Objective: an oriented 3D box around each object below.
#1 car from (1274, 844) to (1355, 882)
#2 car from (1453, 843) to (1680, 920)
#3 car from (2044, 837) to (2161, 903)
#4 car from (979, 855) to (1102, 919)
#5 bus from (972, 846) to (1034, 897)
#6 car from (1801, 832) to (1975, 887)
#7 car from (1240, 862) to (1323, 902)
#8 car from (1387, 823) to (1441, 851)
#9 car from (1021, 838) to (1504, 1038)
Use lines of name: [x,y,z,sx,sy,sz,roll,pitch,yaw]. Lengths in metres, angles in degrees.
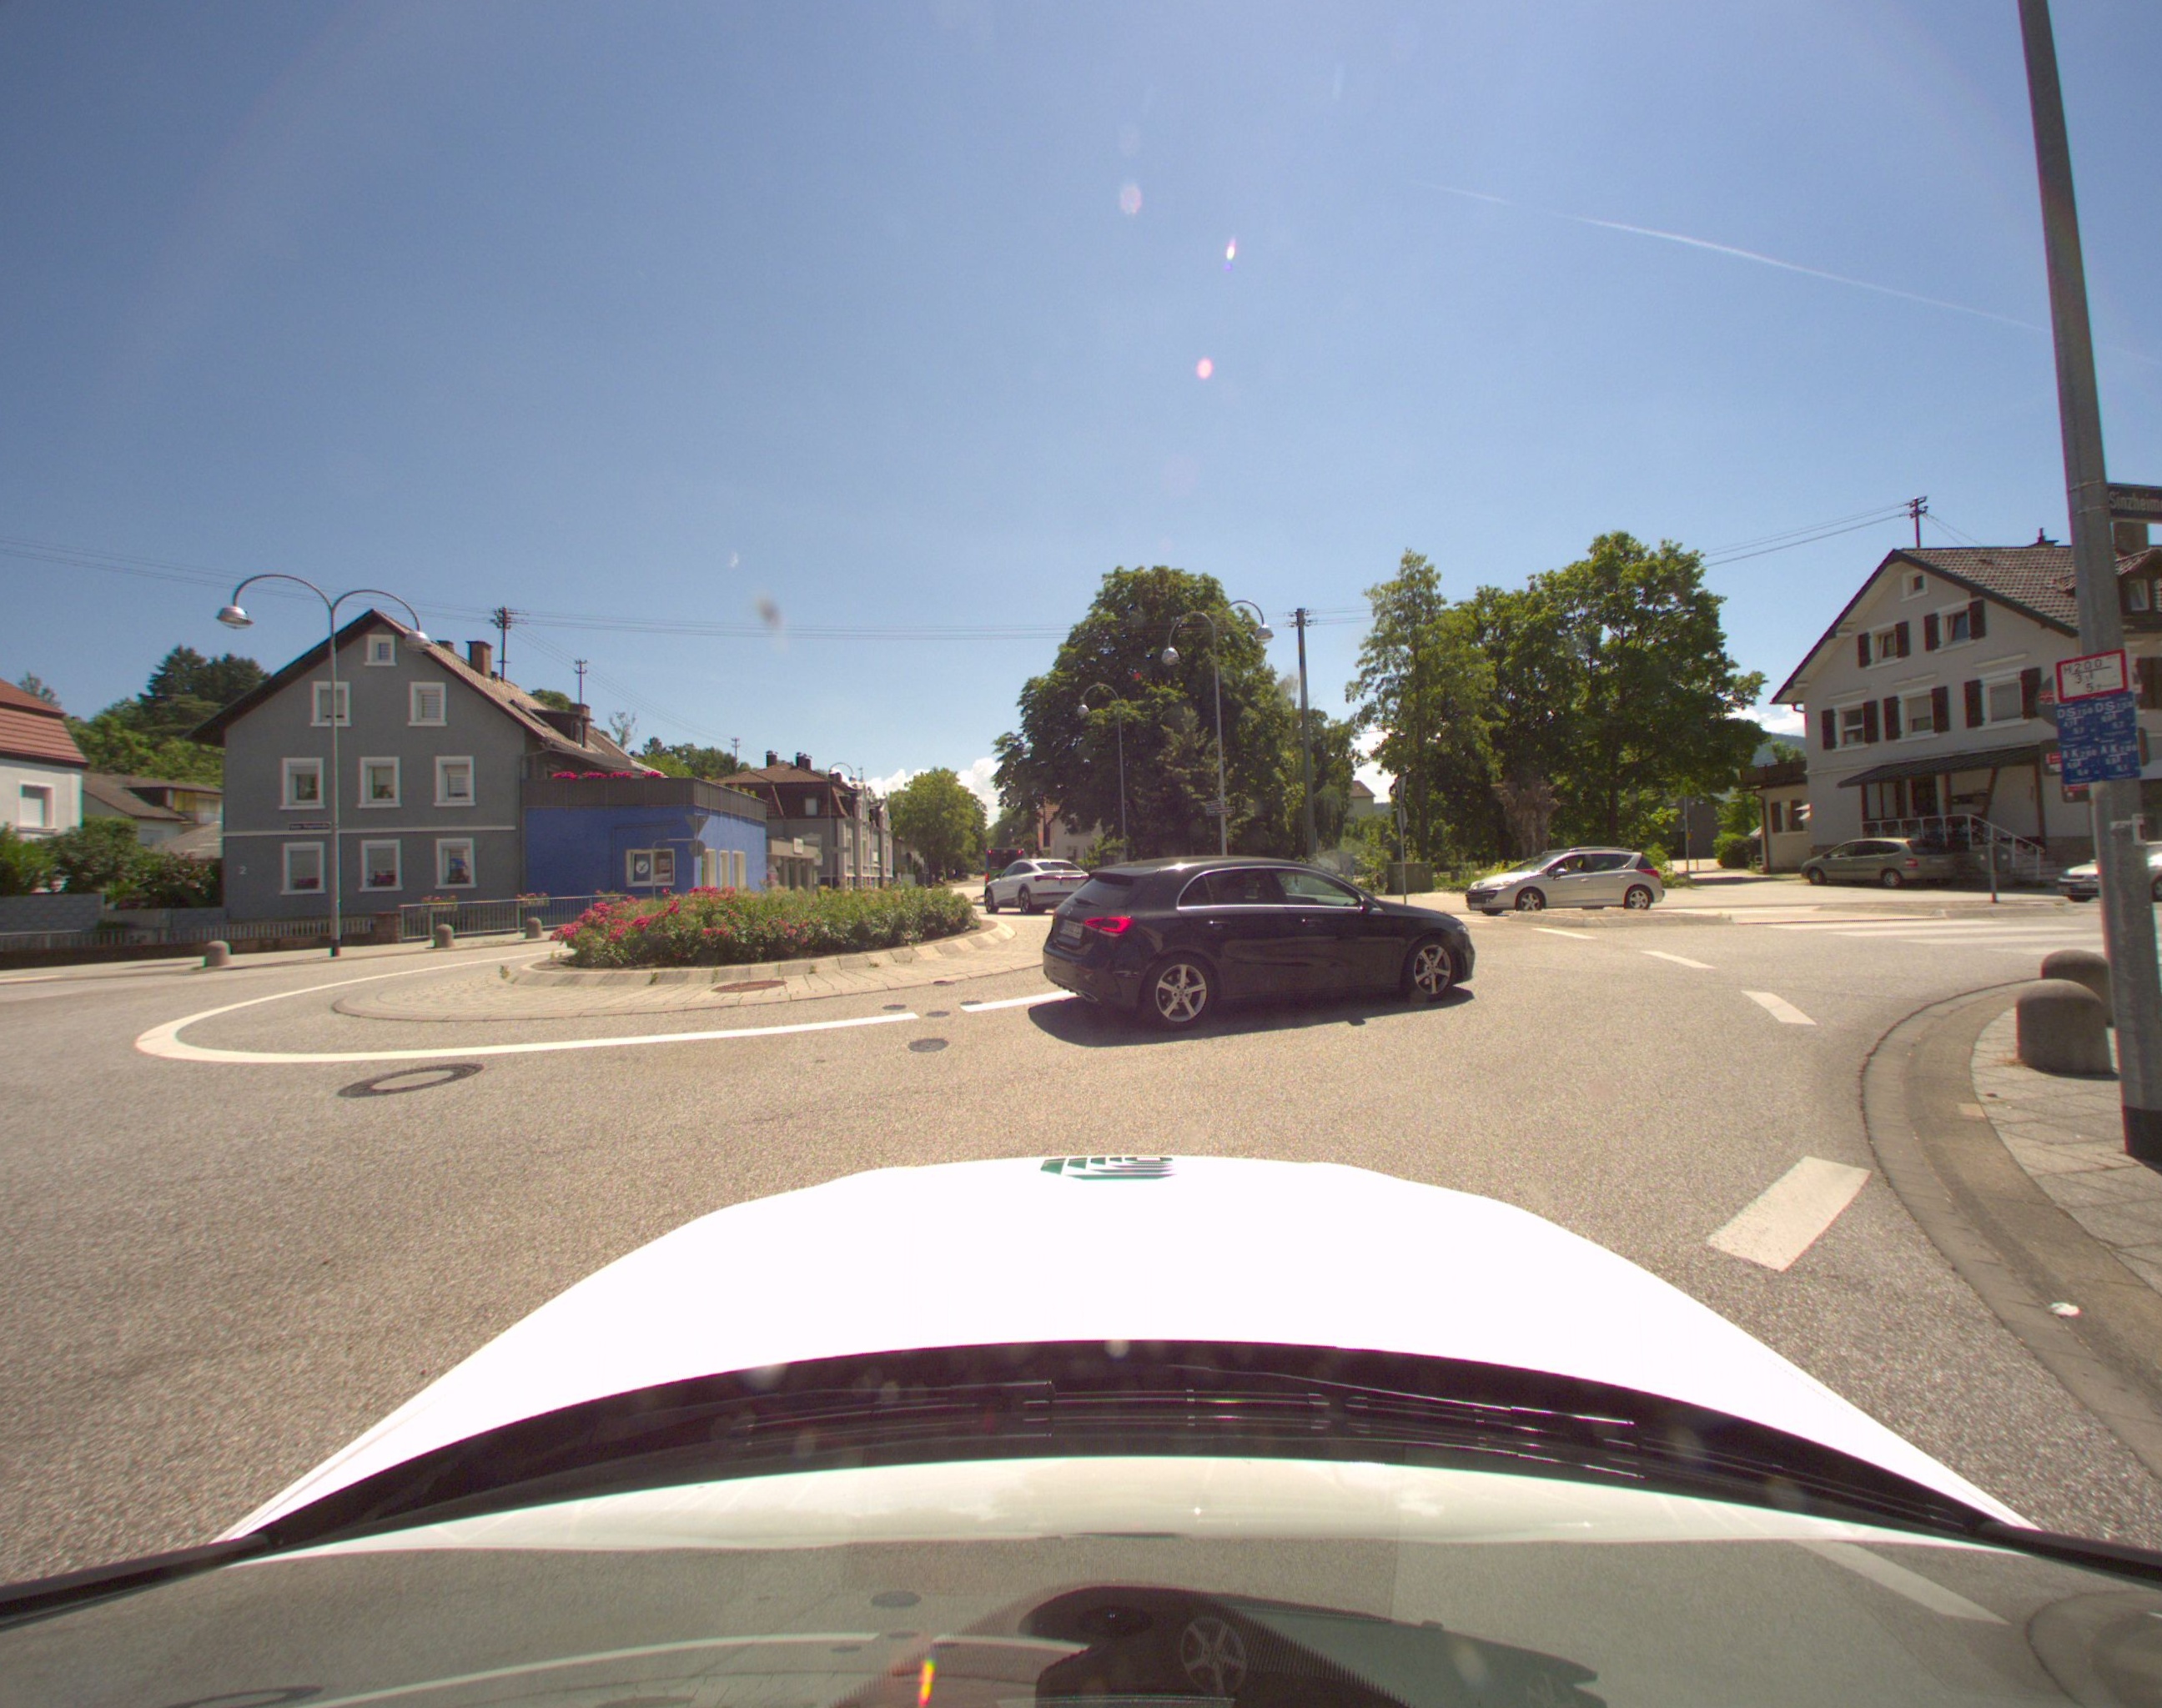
car: [13.308,0.548,46.544,2.012,2.014,3.950,-1,-1,-45]
car: [11.010,0.612,18.651,4.185,1.516,1.744,-2,-1,-3]
car: [25.245,0.335,19.083,3.699,1.412,1.548,-2,-1,-4]
car: [-1.320,0.967,24.384,1.910,1.662,4.368,-2,-1,-29]
bus: [-5.385,1.346,59.719,3.698,3.172,18.045,0,-2,-3]
car: [26.662,0.203,27.117,1.747,1.640,3.997,-2,-1,-2]
car: [8.626,1.182,35.145,3.058,1.553,1.624,-2,-1,-18]
car: [27.136,-1.343,66.437,3.952,2.014,2.010,-3,-1,21]
car: [1.802,0.629,8.018,4.441,1.457,1.756,-2,2,-22]
